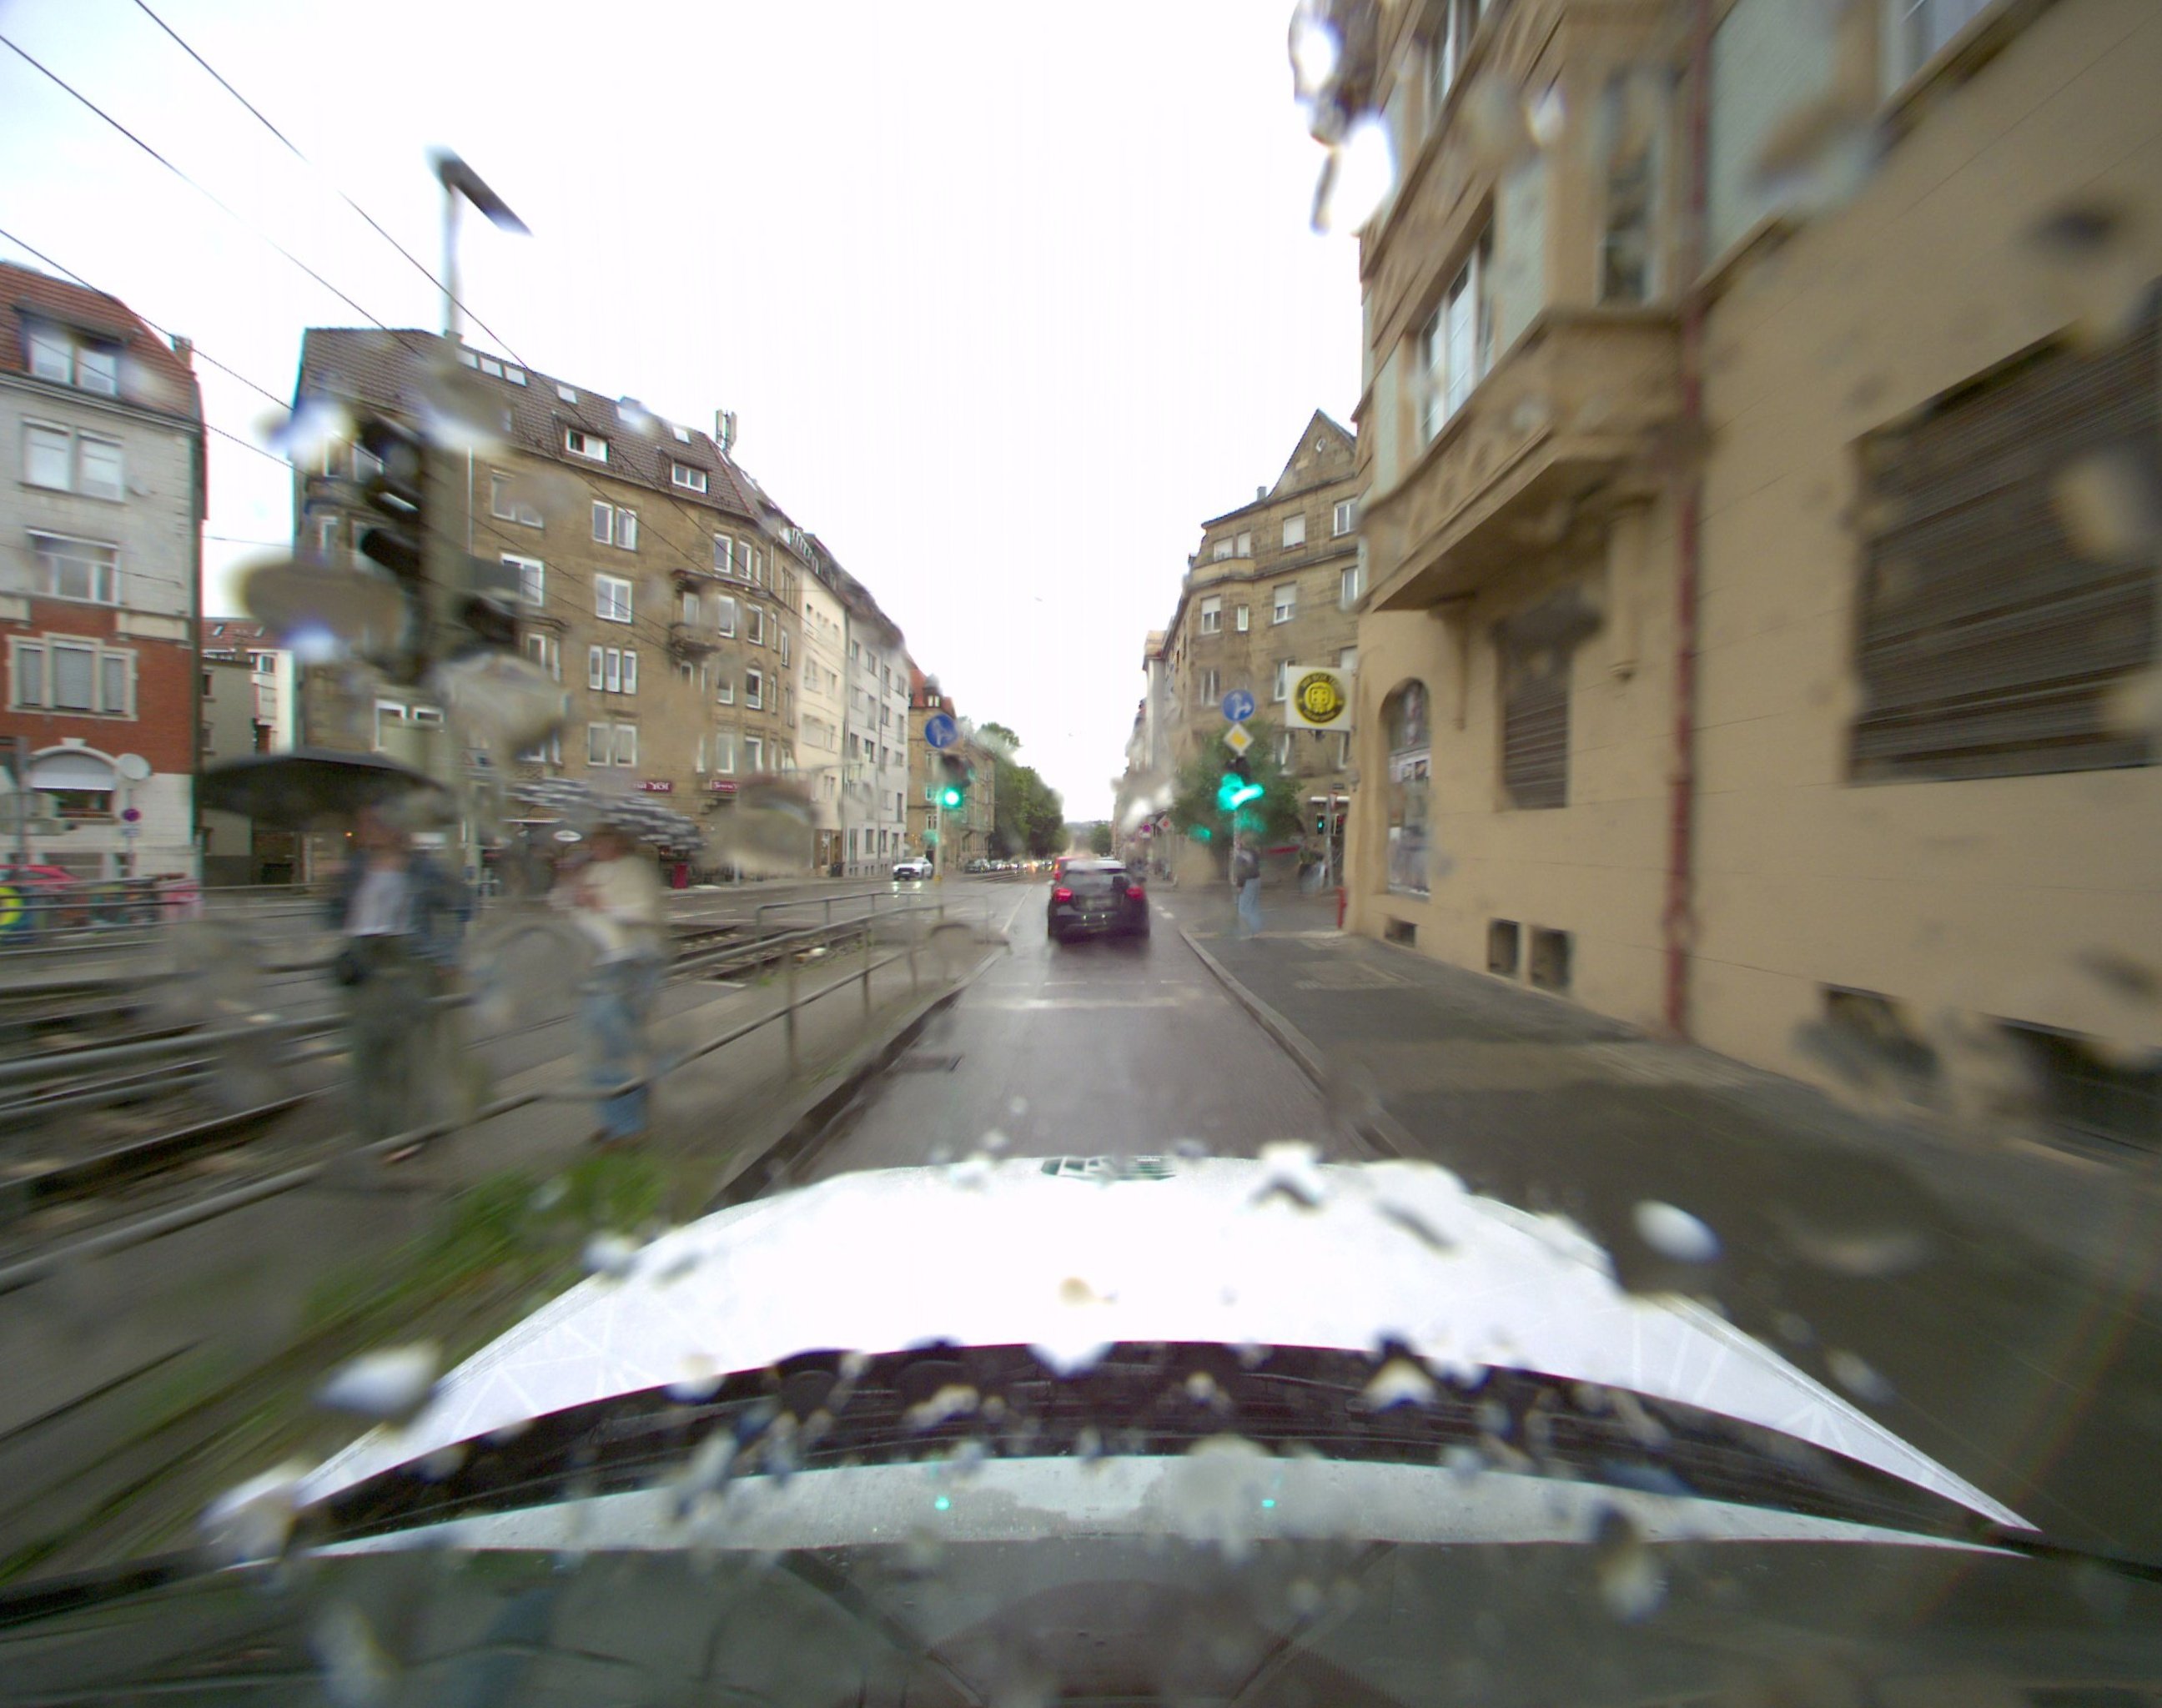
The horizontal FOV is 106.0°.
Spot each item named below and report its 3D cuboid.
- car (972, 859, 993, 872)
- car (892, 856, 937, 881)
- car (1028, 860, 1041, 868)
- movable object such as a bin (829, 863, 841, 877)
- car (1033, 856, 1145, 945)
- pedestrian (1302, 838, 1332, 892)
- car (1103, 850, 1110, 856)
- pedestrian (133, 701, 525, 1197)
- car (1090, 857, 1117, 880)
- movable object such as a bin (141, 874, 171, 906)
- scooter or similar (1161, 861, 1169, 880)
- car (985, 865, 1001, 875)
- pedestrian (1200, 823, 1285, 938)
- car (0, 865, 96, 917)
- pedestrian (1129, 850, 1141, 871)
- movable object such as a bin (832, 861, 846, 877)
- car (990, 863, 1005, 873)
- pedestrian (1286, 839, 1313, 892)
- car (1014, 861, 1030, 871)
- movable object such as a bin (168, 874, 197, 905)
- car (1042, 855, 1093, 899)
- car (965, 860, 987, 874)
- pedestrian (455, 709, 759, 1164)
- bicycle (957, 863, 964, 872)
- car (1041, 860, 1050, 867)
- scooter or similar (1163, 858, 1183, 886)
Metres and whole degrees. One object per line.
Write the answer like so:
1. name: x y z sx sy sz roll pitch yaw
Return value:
1. car: -12.045 1.414 100.178 1.799 1.597 4.529 -1 0 3
2. car: -11.838 1.016 58.137 1.986 1.628 5.254 -1 -1 1
3. car: -7.871 1.725 138.503 1.799 1.361 4.766 -1 0 2
4. movable object such as a bin: -16.717 1.115 55.384 0.591 0.911 0.560 3 -1 1
5. car: 0.248 0.781 15.476 1.858 1.452 4.003 0 0 3
6. pedestrian: 8.093 0.374 27.923 0.680 1.788 0.901 -2 -1 -2
7. car: 6.529 -0.258 208.154 1.607 1.317 4.001 1 -1 1
8. pedestrian: -3.400 0.387 3.806 0.894 2.014 0.947 1 -1 1
9. car: 1.584 0.983 56.406 1.759 1.559 4.747 -1 -1 1
10. movable object such as a bin: -30.743 1.182 27.065 0.712 1.042 0.554 -1 -1 32
11. scooter or similar: 5.302 1.026 51.306 0.394 1.216 1.106 0 0 0
12. car: -11.901 2.144 109.825 1.562 1.316 3.484 -1 0 3
13. pedestrian: 2.732 0.433 13.774 0.908 1.840 0.956 -3 -1 -45
14. car: -30.700 1.039 22.692 1.720 1.403 4.024 -2 -1 43
15. pedestrian: 4.606 0.567 70.072 0.942 1.769 1.015 0 0 -1
16. movable object such as a bin: -16.650 1.033 56.044 0.710 1.074 0.687 3 -1 1
17. car: -11.703 1.936 114.164 1.562 1.413 3.484 -1 0 3
18. pedestrian: 7.480 0.391 27.888 0.592 1.788 0.890 -2 -1 -2
19. car: -8.763 1.723 120.779 1.941 1.397 4.276 -2 -1 2
20. movable object such as a bin: -30.419 1.192 27.568 0.712 1.042 0.554 -1 -1 32
21. car: -0.470 0.770 28.770 1.644 1.452 3.998 0 0 -1
22. car: -12.184 1.489 94.695 1.715 1.541 3.937 -1 0 3
23. pedestrian: -2.298 0.364 4.105 0.922 2.014 0.947 1 -1 1
24. bicycle: -14.122 1.554 95.815 0.597 1.000 2.077 -1 -1 -3
25. car: -7.625 2.044 175.665 1.688 1.388 3.484 -1 0 3
26. scooter or similar: 4.091 0.806 36.238 0.636 1.210 1.551 -1 -1 -3
